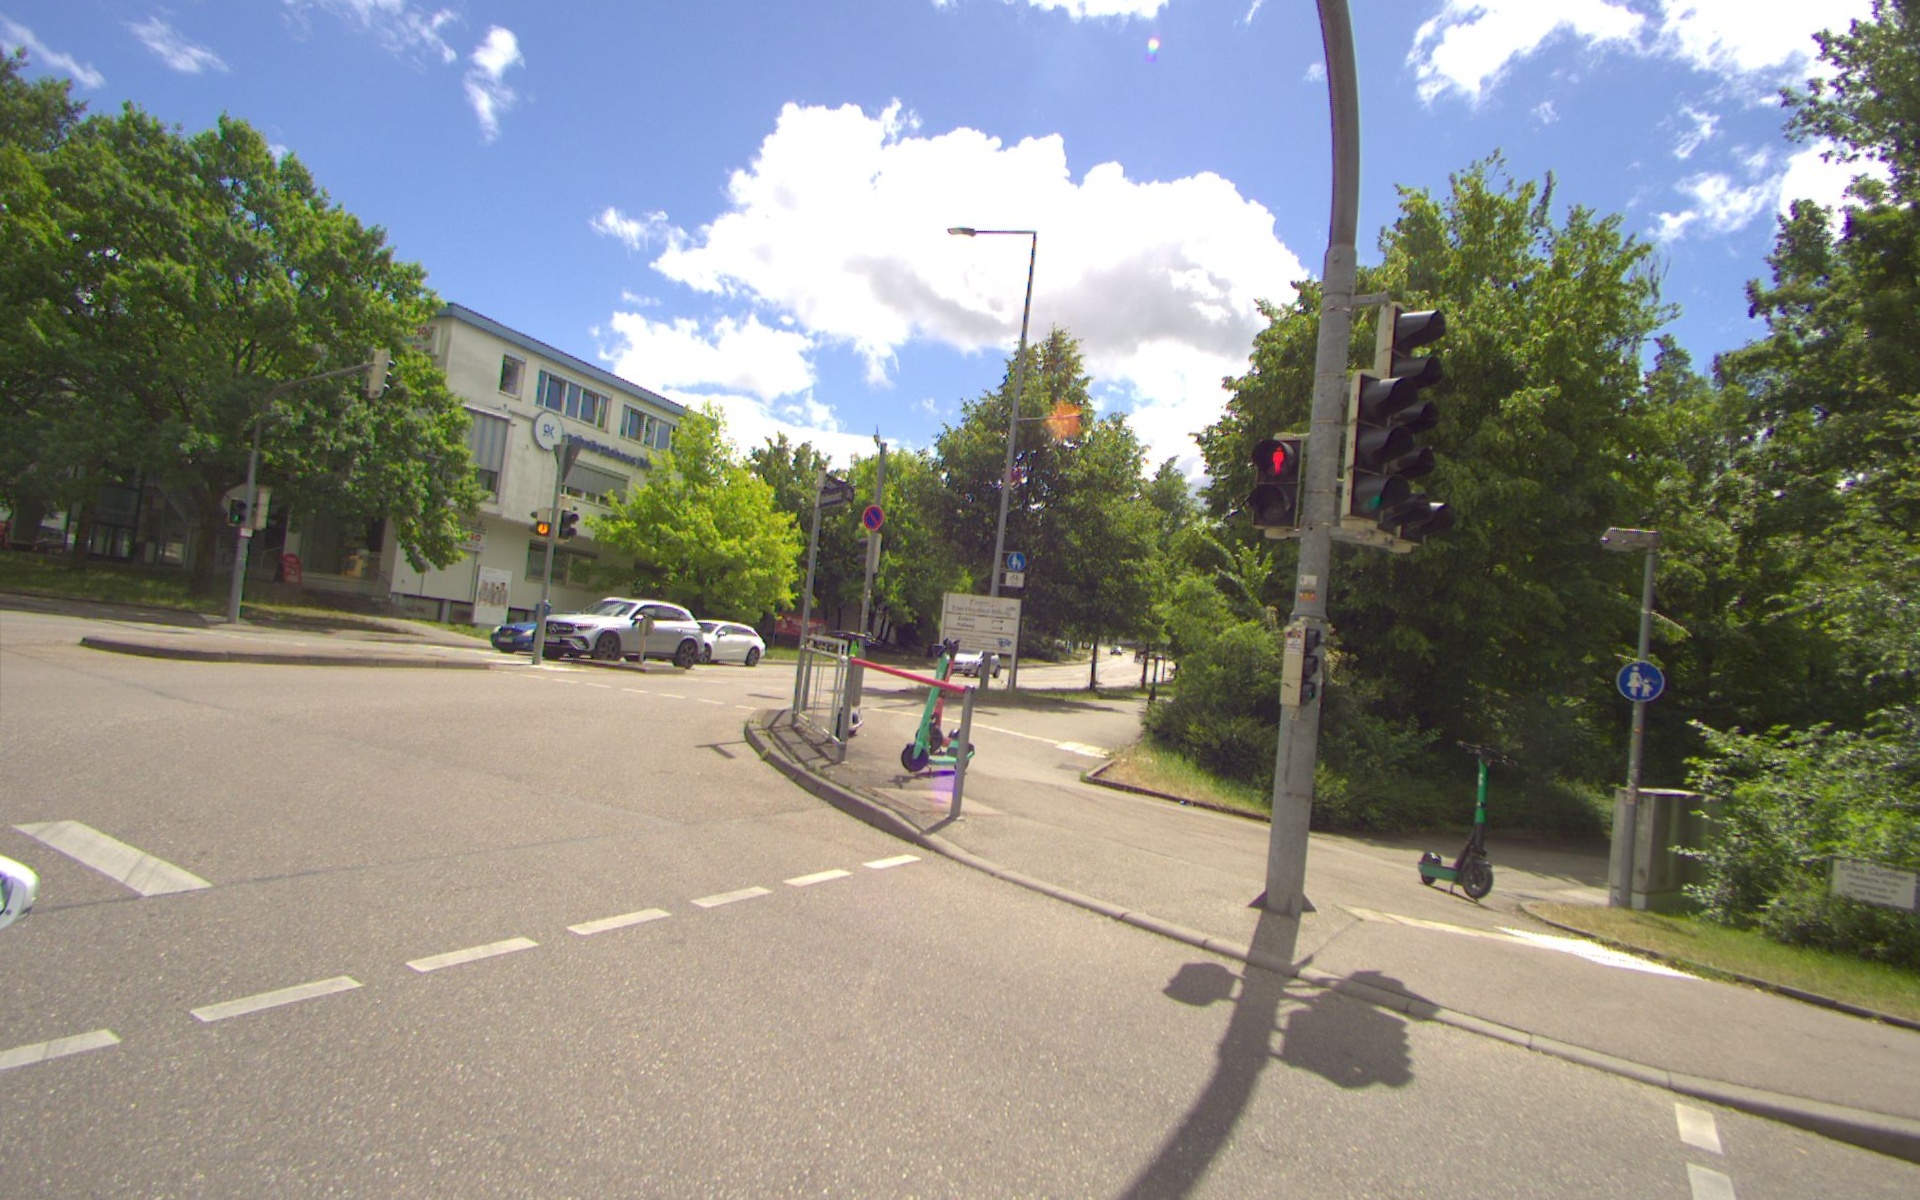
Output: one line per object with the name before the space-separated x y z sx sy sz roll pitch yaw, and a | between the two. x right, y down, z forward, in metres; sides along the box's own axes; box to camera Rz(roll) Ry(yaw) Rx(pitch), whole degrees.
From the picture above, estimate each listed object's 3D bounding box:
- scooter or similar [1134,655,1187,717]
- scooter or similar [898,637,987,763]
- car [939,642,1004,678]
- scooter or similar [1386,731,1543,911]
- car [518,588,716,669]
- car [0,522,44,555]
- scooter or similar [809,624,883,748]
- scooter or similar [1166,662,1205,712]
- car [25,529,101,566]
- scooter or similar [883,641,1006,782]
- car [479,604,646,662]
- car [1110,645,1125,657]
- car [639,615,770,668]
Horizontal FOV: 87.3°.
scooter or similar | 4.175 1.791 20.913 0.515 1.196 1.173 6 -2 35
scooter or similar | -0.167 1.085 11.070 0.471 1.249 1.186 6 -1 19
car | 0.582 2.741 45.465 1.579 1.428 3.900 4 -3 22
scooter or similar | 4.330 1.858 8.717 0.526 1.305 1.213 11 -4 -2
car | -8.316 0.772 24.890 1.889 1.609 4.657 4 -3 24
car | -49.930 -3.314 52.697 3.934 1.460 1.747 6 -2 32
scooter or similar | -1.248 0.930 11.172 0.470 1.249 1.212 7 -1 4
scooter or similar | 5.348 2.071 23.823 0.404 1.086 1.112 6 -2 35
car | -48.353 -2.818 54.193 3.931 1.487 1.748 6 -2 29
scooter or similar | -0.125 1.052 9.535 0.442 1.209 1.169 6 -2 35
car | -10.627 0.932 27.194 1.879 1.239 3.973 3 -3 24
car | 24.978 8.122 159.445 1.962 1.646 4.005 7 -2 5
car | -8.344 1.429 33.268 1.916 1.431 4.406 4 -3 22
